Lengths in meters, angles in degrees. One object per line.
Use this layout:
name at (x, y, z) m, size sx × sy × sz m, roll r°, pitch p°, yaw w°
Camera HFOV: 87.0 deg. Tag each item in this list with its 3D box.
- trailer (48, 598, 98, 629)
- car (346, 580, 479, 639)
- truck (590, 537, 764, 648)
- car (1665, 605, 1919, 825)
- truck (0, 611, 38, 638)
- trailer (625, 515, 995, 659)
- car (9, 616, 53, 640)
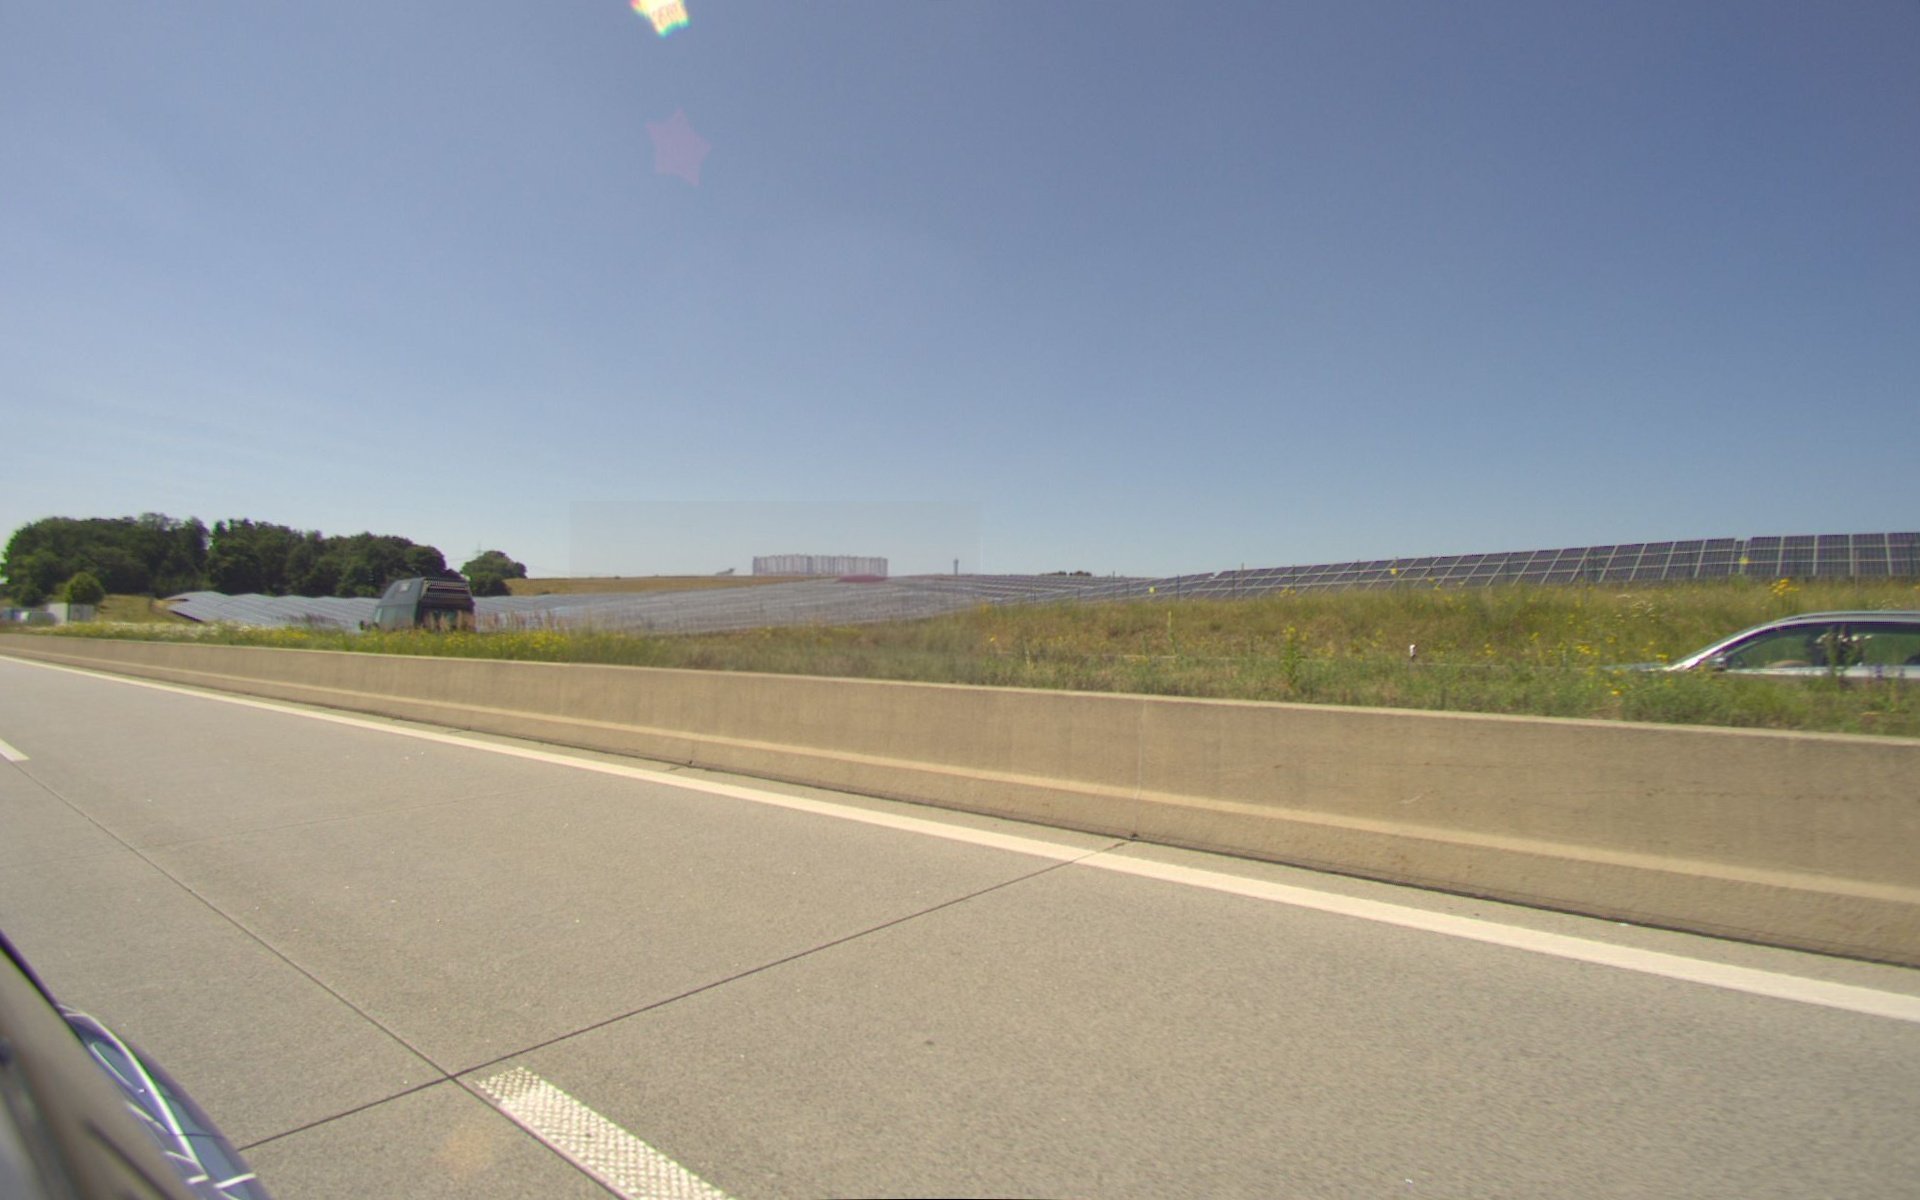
trailer at (-106.325, 1.648, 121.270) m, size 11.759 × 3.551 × 3.042 m, roll -1°, pitch 0°, yaw 42°
car at (-17.437, 0.293, 32.095) m, size 5.387 × 1.741 × 1.973 m, roll -1°, pitch 0°, yaw 41°
truck at (-10.045, -0.158, 35.637) m, size 6.345 × 3.567 × 2.892 m, roll -1°, pitch -3°, yaw 41°
car at (8.439, 0.925, 8.687) m, size 3.740 × 1.741 × 1.806 m, roll -1°, pitch 0°, yaw 41°
truck at (-113.807, 2.874, 122.005) m, size 10.370 × 3.087 × 2.795 m, roll -1°, pitch 0°, yaw 41°
trailer at (-5.306, -0.206, 31.582) m, size 14.014 × 3.577 × 2.901 m, roll -1°, pitch -5°, yaw 41°
car at (-85.206, 2.538, 92.781) m, size 6.344 × 2.029 × 2.161 m, roll -1°, pitch 0°, yaw 40°
